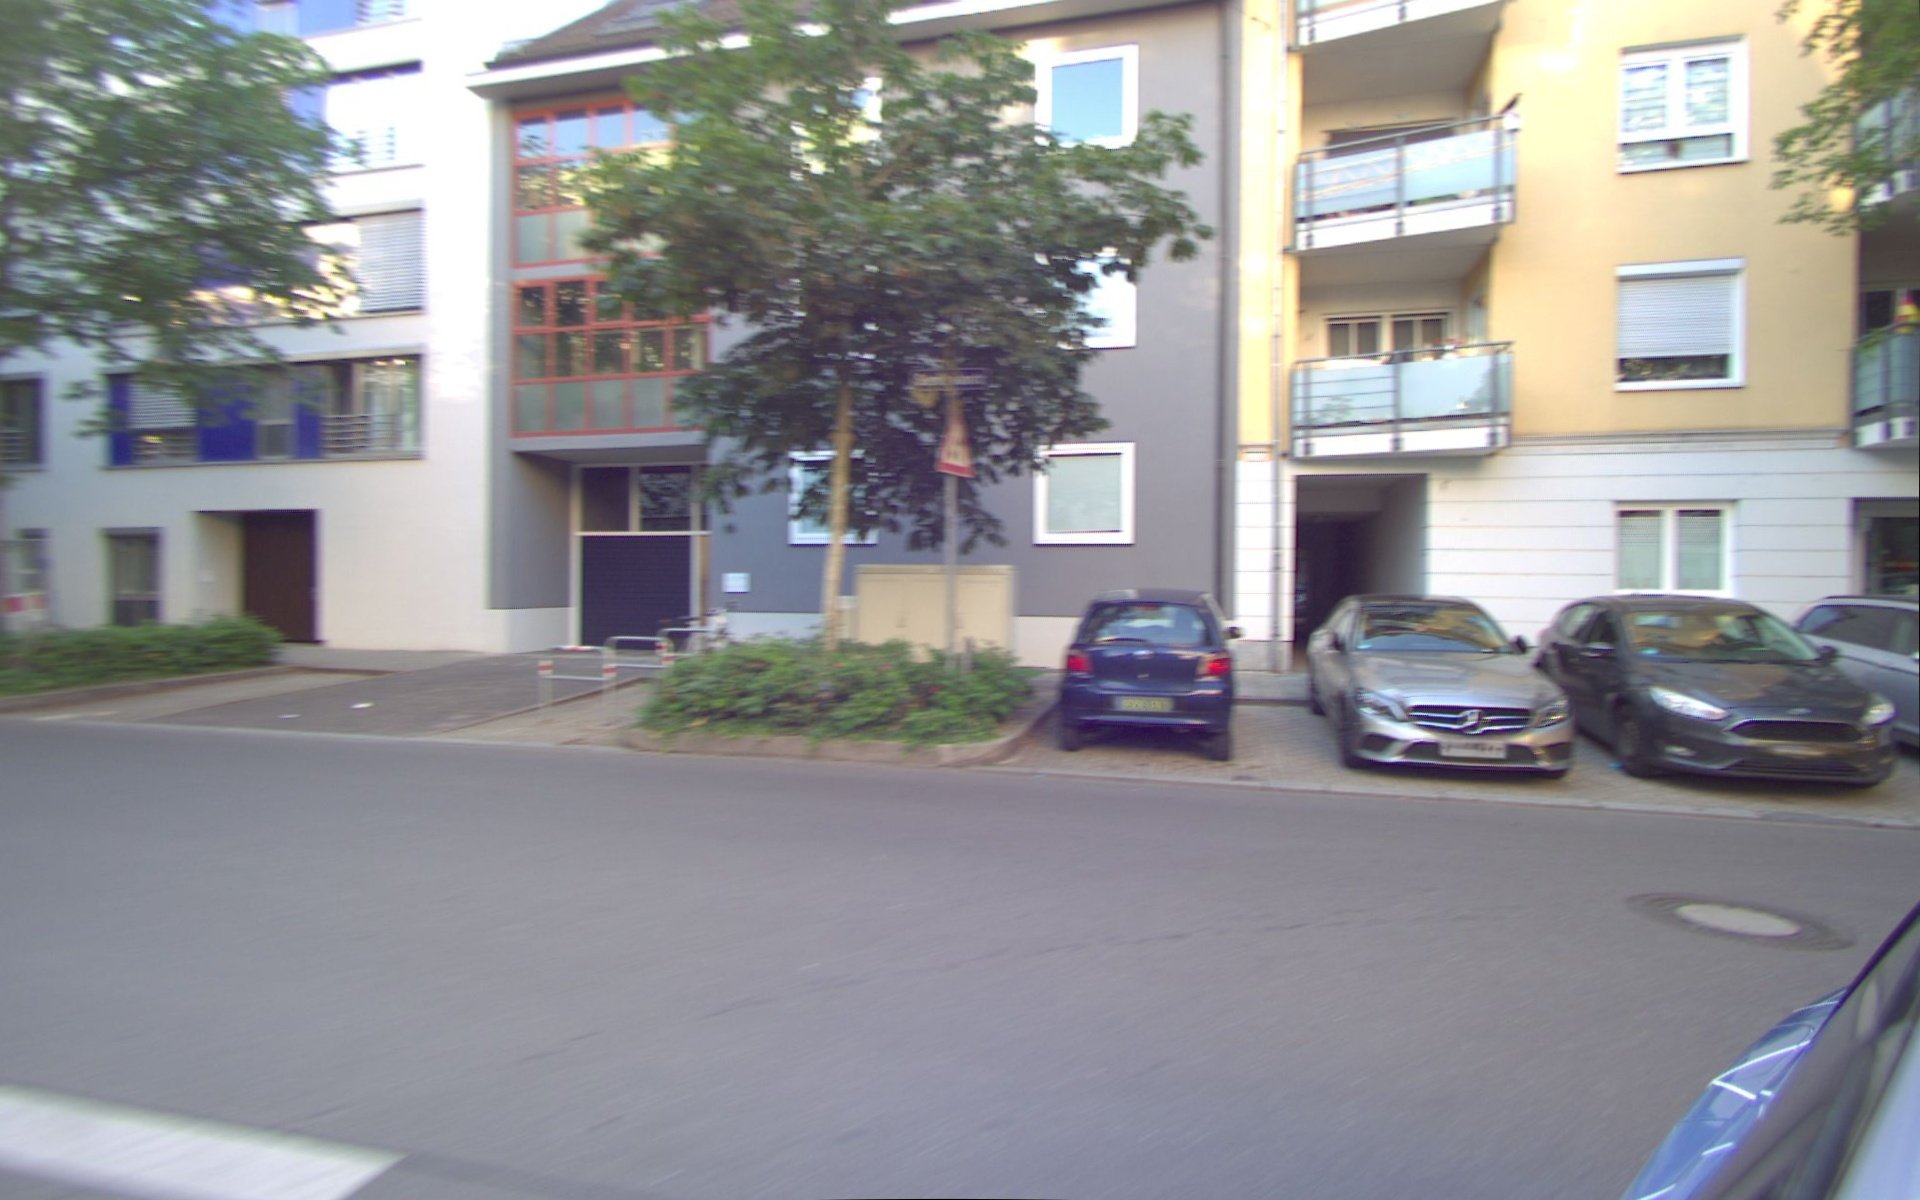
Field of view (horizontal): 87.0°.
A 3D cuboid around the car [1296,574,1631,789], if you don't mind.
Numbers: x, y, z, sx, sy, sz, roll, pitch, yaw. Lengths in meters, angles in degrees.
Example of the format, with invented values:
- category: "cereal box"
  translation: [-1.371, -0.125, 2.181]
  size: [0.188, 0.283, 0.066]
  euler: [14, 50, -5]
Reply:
- category: "car"
  translation: [4.580, 0.578, 10.038]
  size: [1.981, 1.591, 4.617]
  euler: [1, 1, 14]

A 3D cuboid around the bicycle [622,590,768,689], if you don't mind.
- category: "bicycle"
  translation: [-3.628, 0.510, 13.879]
  size: [1.780, 1.250, 0.826]
  euler: [1, 1, 19]

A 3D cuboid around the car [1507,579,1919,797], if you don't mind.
- category: "car"
  translation: [6.914, 0.596, 9.646]
  size: [1.963, 1.539, 4.775]
  euler: [1, 1, 16]

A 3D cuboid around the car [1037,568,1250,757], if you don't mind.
- category: "car"
  translation: [1.972, 0.484, 10.417]
  size: [1.805, 1.583, 3.535]
  euler: [0, 1, 14]

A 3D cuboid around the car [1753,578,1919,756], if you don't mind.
- category: "car"
  translation: [9.371, 0.593, 8.902]
  size: [1.931, 1.521, 4.620]
  euler: [0, 2, 13]
